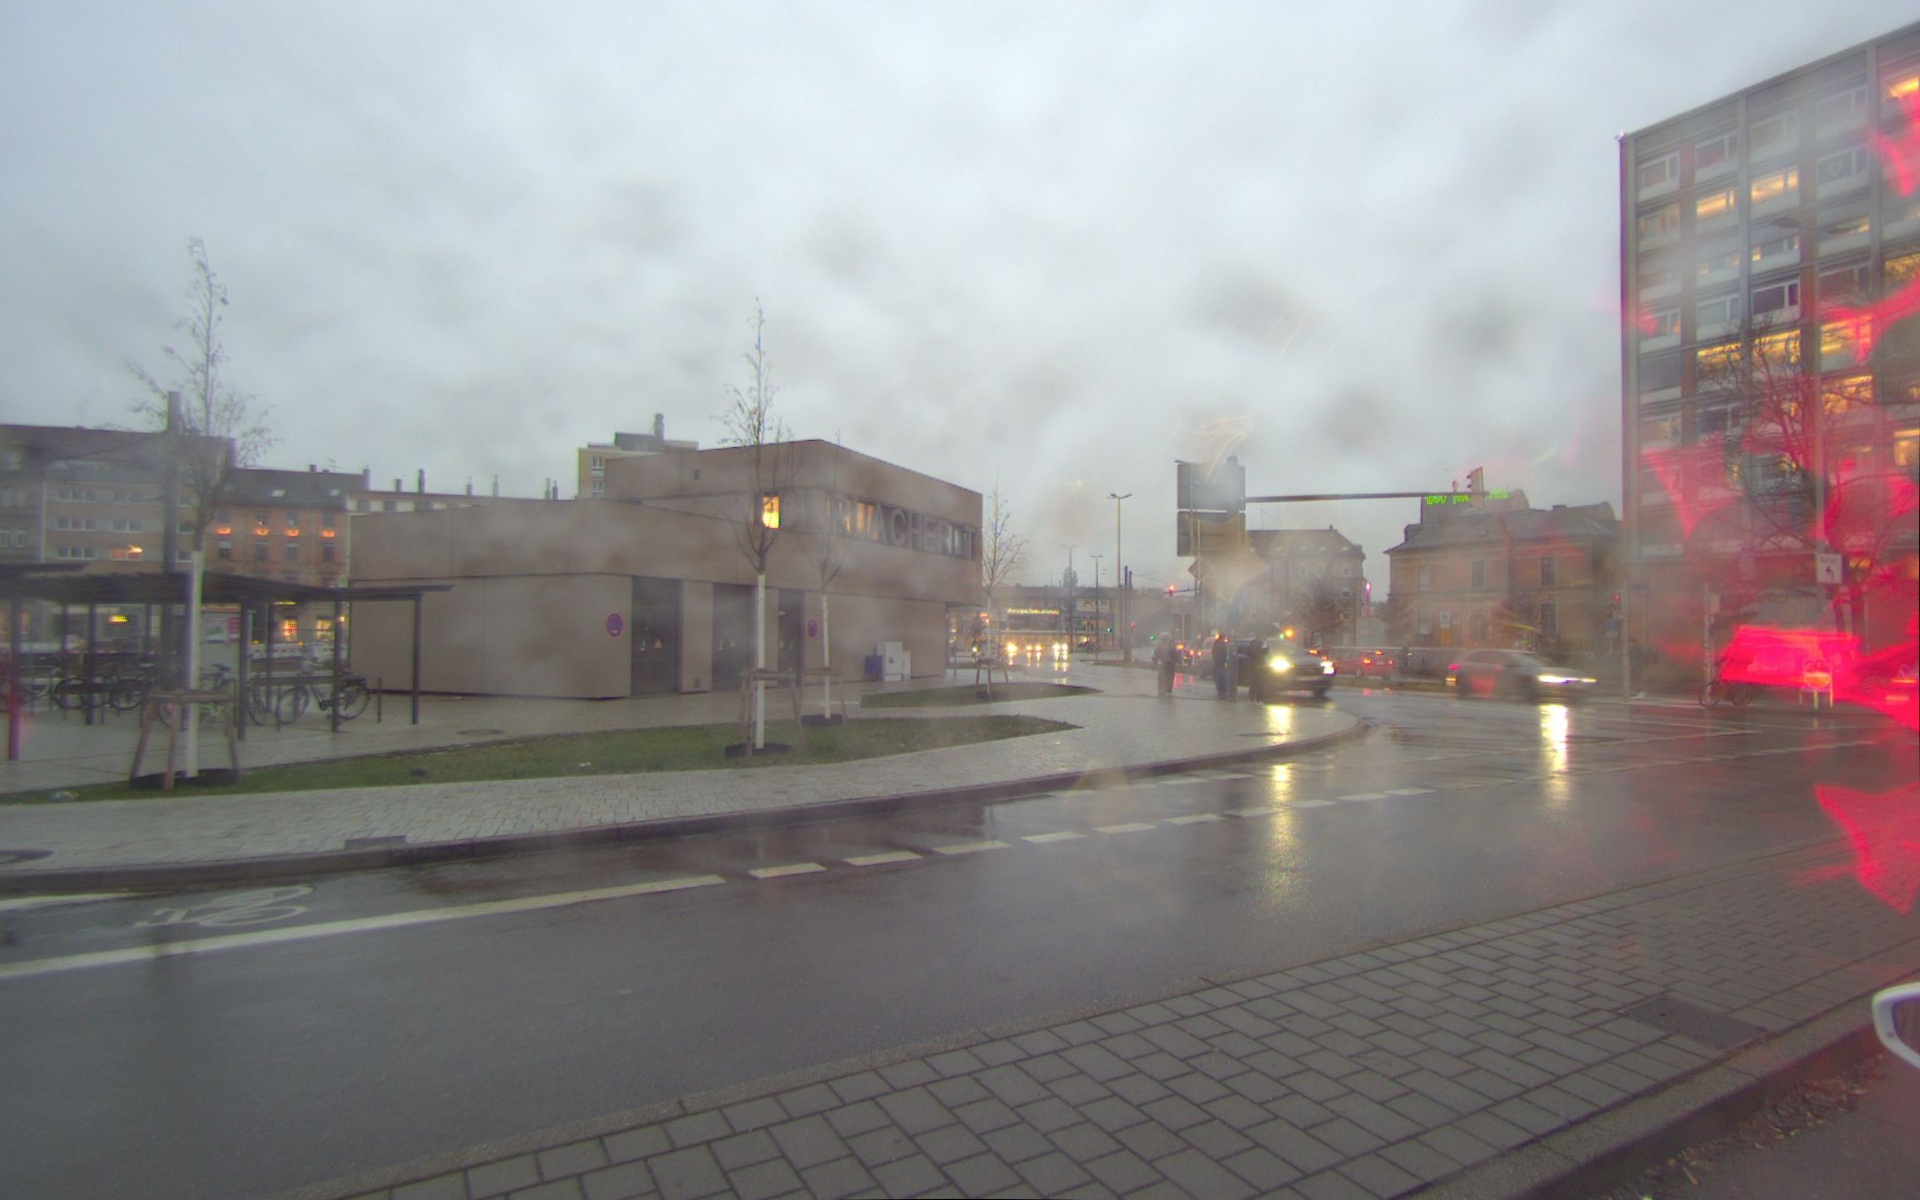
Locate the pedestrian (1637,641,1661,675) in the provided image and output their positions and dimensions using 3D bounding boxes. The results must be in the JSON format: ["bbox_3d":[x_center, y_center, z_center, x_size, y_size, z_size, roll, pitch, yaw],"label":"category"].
[{"bbox_3d":[33.969,2.871,49.546,0.548,1.649,0.760,0,-2,-15],"label":"pedestrian"}]

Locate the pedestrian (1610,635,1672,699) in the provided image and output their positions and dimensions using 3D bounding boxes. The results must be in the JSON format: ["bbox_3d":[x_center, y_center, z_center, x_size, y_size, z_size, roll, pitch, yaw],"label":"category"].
[{"bbox_3d":[20.909,2.052,30.876,1.117,1.867,1.004,-2,-2,-2],"label":"pedestrian"}]

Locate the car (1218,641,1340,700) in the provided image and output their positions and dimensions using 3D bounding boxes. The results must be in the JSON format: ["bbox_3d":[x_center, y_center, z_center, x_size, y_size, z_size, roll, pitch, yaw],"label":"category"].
[{"bbox_3d":[9.226,2.011,29.401,1.743,1.598,3.994,0,-2,-10],"label":"car"}]

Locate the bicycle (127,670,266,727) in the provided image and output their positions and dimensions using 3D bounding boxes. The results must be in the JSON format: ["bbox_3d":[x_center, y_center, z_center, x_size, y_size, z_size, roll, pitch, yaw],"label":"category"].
[{"bbox_3d":[-13.594,1.738,17.955,0.466,0.903,1.923,1,-2,29],"label":"bicycle"}]

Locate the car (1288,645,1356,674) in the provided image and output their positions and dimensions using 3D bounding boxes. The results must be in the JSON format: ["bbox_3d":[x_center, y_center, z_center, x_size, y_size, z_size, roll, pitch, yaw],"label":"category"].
[{"bbox_3d":[20.893,3.410,58.082,3.364,1.481,1.515,2,0,-1],"label":"car"}]

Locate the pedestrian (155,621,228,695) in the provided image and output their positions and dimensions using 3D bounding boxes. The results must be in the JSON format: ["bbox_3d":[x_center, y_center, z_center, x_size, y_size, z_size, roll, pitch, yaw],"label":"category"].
[{"bbox_3d":[-18.954,1.418,24.777,0.992,1.787,1.067,-1,-2,22],"label":"pedestrian"}]

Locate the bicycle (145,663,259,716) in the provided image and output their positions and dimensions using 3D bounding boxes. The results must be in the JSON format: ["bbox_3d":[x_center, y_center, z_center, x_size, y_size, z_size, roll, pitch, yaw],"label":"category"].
[{"bbox_3d":[-15.188,1.779,20.177,0.466,0.968,1.767,1,-2,29],"label":"bicycle"}]

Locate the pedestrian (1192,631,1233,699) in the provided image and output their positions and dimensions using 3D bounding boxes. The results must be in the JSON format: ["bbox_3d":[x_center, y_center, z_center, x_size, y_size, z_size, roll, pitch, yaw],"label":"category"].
[{"bbox_3d":[6.716,1.716,26.710,0.838,1.778,0.659,0,-2,-14],"label":"pedestrian"}]

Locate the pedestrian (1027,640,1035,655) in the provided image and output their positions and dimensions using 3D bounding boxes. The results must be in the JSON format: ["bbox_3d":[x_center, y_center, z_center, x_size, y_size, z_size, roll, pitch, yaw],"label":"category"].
[{"bbox_3d":[9.690,6.431,136.544,0.960,2.040,0.920,-1,-2,11],"label":"pedestrian"}]

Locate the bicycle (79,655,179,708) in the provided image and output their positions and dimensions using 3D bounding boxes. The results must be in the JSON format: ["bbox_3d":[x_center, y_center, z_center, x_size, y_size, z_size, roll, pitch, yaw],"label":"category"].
[{"bbox_3d":[-17.695,1.711,21.436,0.511,1.050,1.573,1,-2,19],"label":"bicycle"}]

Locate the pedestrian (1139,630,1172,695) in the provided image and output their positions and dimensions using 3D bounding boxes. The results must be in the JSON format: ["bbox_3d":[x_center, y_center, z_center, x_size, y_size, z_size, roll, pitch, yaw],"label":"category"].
[{"bbox_3d":[5.476,1.746,28.120,0.541,1.793,0.737,1,-2,-29],"label":"pedestrian"}]

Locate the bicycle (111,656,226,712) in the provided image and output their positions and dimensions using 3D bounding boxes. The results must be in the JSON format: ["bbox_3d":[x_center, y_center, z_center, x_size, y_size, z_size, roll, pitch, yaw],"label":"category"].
[{"bbox_3d":[-16.538,1.737,21.042,0.466,1.087,1.830,1,-2,26],"label":"bicycle"}]

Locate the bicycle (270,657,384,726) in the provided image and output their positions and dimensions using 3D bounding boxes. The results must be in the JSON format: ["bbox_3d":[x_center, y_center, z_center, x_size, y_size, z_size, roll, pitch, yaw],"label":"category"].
[{"bbox_3d":[-11.758,1.676,18.723,0.605,1.172,1.755,1,-2,20],"label":"bicycle"}]

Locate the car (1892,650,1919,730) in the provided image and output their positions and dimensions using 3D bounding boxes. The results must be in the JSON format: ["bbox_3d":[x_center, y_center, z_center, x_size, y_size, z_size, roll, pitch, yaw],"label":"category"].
[{"bbox_3d":[19.431,1.640,17.327,1.782,1.496,4.655,2,-3,-17],"label":"car"}]

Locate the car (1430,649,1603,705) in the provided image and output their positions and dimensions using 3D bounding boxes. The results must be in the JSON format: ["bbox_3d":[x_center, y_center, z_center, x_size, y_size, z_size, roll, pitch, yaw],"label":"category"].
[{"bbox_3d":[16.269,2.218,29.694,1.781,1.496,4.659,1,-3,-14],"label":"car"}]

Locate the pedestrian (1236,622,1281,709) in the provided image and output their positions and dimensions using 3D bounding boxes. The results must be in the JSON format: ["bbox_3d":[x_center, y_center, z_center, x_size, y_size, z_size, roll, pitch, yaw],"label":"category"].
[{"bbox_3d":[7.249,1.579,24.367,0.971,2.047,0.802,-1,-2,19],"label":"pedestrian"}]

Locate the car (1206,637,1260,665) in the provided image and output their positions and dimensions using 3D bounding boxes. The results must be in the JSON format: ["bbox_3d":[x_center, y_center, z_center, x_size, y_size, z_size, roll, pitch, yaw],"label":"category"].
[{"bbox_3d":[19.611,3.656,72.358,3.514,1.850,1.672,2,0,8],"label":"car"}]

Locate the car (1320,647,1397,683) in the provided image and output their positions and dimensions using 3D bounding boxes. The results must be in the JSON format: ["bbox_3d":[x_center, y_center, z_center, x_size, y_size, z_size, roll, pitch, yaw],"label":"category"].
[{"bbox_3d":[20.487,3.312,51.821,1.795,1.589,3.991,2,0,-11],"label":"car"}]

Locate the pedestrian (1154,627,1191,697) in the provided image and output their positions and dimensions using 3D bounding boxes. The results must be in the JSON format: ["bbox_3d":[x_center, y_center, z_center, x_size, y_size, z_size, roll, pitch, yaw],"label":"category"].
[{"bbox_3d":[5.808,1.688,27.497,0.668,1.863,0.729,1,-2,-30],"label":"pedestrian"}]

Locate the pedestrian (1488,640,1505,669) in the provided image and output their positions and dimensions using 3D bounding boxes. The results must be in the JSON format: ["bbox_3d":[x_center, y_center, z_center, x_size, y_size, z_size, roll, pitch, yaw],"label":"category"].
[{"bbox_3d":[32.093,3.261,60.074,0.625,1.710,0.640,0,-2,-7],"label":"pedestrian"}]

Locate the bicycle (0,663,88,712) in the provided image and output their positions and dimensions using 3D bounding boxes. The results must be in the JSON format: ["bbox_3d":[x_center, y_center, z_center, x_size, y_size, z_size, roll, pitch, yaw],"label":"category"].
[{"bbox_3d":[-18.517,1.733,19.993,0.466,0.903,1.693,1,-2,24],"label":"bicycle"}]

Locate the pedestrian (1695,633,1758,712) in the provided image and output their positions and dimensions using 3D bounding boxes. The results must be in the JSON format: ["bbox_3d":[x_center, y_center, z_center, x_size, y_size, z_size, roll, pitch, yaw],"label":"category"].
[{"bbox_3d":[20.059,1.885,26.283,0.946,2.004,0.925,0,-2,-24],"label":"pedestrian"}]

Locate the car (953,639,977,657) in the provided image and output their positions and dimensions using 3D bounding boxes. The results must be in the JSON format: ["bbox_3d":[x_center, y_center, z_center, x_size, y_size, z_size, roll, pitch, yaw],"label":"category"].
[{"bbox_3d":[0.419,4.391,92.412,1.649,1.598,3.420,0,-2,-9],"label":"car"}]

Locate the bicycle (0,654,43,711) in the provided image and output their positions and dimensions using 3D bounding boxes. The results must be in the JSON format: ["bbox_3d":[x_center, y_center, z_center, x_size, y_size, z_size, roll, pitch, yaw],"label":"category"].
[{"bbox_3d":[-19.402,1.633,19.842,0.466,1.122,1.797,1,-2,29],"label":"bicycle"}]

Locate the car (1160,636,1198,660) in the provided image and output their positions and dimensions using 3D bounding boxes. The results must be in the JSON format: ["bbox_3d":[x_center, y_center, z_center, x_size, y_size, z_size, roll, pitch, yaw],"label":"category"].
[{"bbox_3d":[16.152,3.521,74.210,1.791,1.589,3.999,2,0,-2],"label":"car"}]

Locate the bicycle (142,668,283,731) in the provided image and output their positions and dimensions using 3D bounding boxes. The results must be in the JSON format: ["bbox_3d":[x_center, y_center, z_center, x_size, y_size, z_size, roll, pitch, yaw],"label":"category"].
[{"bbox_3d":[-12.944,1.703,17.462,0.466,0.989,1.923,1,-2,29],"label":"bicycle"}]
